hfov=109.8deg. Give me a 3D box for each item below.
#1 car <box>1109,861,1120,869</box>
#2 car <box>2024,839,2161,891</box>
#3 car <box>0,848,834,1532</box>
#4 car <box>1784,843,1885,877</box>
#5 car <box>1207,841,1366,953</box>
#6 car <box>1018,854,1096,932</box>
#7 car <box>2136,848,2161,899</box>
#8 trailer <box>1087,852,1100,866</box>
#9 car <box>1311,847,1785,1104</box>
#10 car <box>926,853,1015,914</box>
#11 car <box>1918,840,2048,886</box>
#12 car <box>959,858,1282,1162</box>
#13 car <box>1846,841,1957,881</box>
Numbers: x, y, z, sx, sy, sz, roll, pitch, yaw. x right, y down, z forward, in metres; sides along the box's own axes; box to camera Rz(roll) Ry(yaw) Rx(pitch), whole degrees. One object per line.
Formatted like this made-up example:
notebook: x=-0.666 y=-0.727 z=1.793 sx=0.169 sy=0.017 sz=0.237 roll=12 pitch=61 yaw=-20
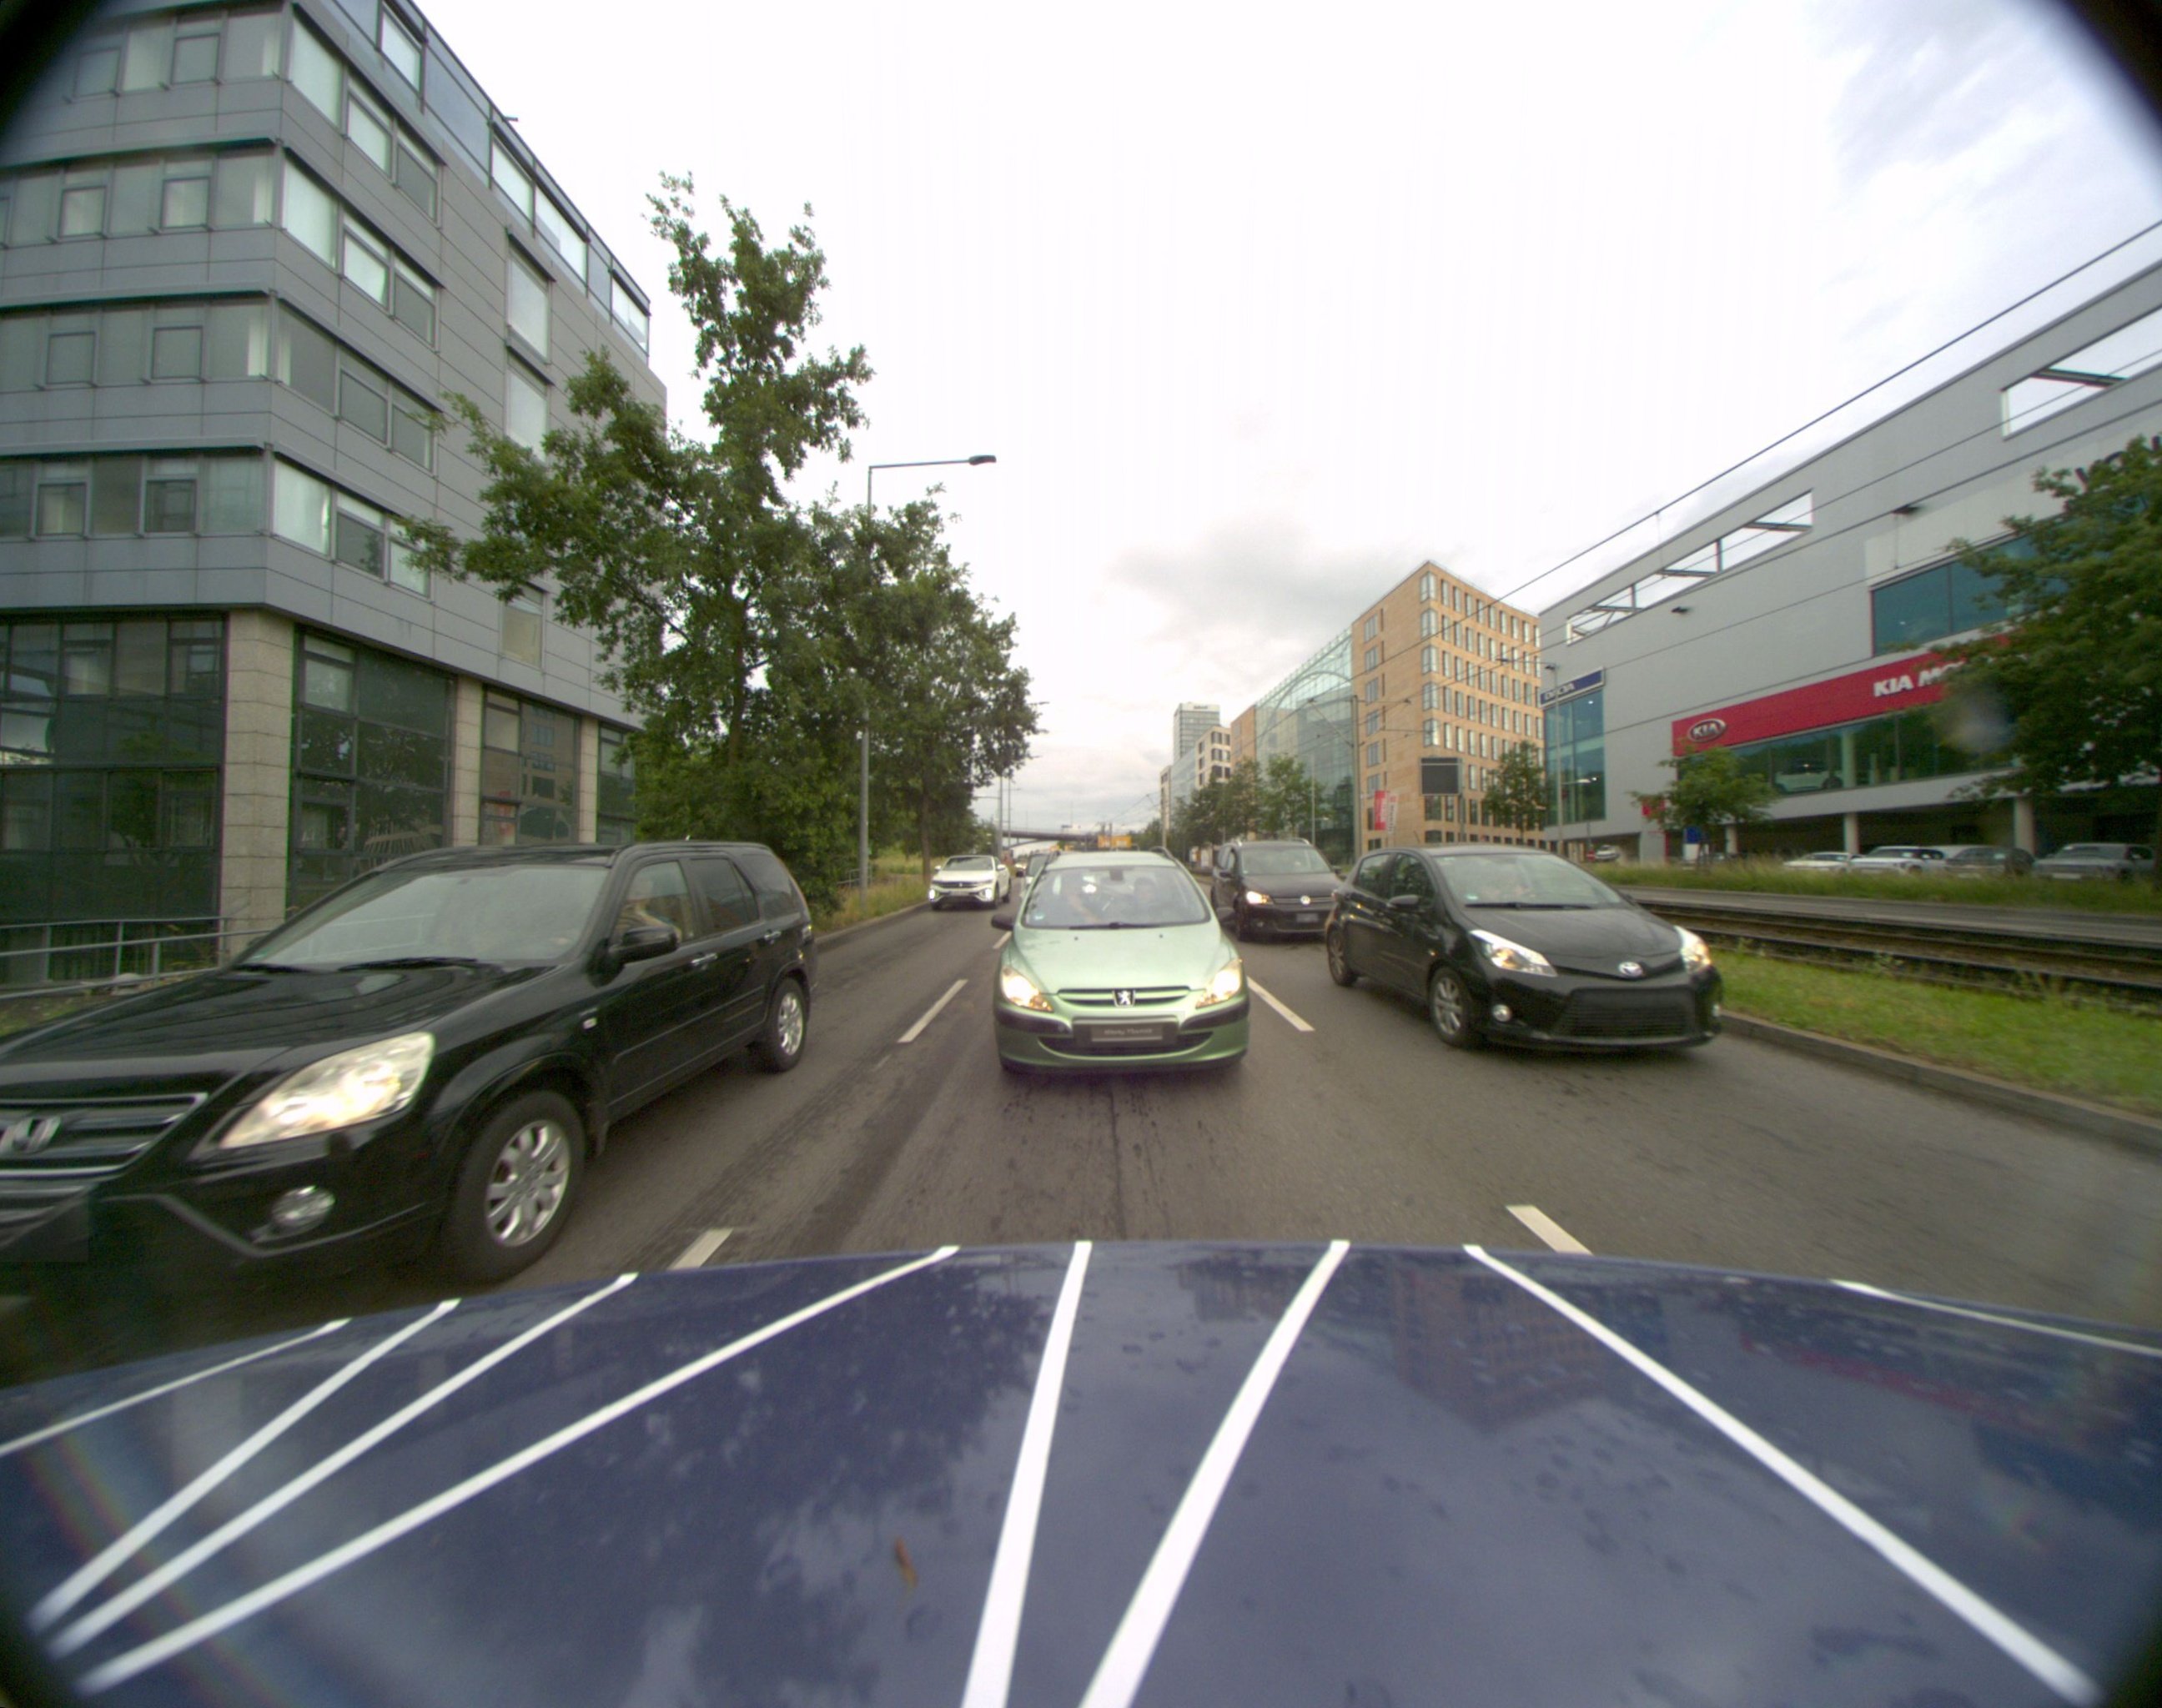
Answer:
car: x=7.417 y=2.455 z=168.876 sx=1.999 sy=1.709 sz=4.839 roll=1 pitch=0 yaw=-2
car: x=32.075 y=0.328 z=24.071 sx=3.528 sy=1.344 sz=1.696 roll=-4 pitch=1 yaw=-20
car: x=-2.939 y=0.816 z=4.014 sx=1.759 sy=1.649 sz=4.337 roll=-1 pitch=1 yaw=1
car: x=31.773 y=0.239 z=32.048 sx=3.668 sy=1.181 sz=1.696 roll=-4 pitch=1 yaw=-22
car: x=3.332 y=0.604 z=13.169 sx=1.786 sy=1.597 sz=4.317 roll=-1 pitch=1 yaw=3
car: x=-0.588 y=0.771 z=16.781 sx=1.518 sy=1.495 sz=3.166 roll=-1 pitch=1 yaw=-4
car: x=31.960 y=0.462 z=21.293 sx=3.527 sy=1.344 sz=1.696 roll=-4 pitch=1 yaw=-16
trailer: x=3.800 y=1.563 z=238.873 sx=3.143 sy=4.304 sz=13.276 roll=2 pitch=0 yaw=-3
car: x=3.448 y=0.731 z=6.564 sx=1.704 sy=1.523 sz=3.826 roll=-1 pitch=1 yaw=-1
car: x=-3.046 y=0.763 z=21.638 sx=1.827 sy=1.495 sz=3.766 roll=-1 pitch=1 yaw=2
car: x=31.631 y=0.284 z=26.663 sx=3.528 sy=1.344 sz=1.696 roll=-4 pitch=1 yaw=-17
car: x=0.199 y=0.847 z=6.259 sx=1.704 sy=1.523 sz=4.370 roll=-1 pitch=1 yaw=-1
car: x=31.795 y=0.249 z=29.443 sx=3.668 sy=1.287 sz=1.696 roll=-4 pitch=1 yaw=-22
